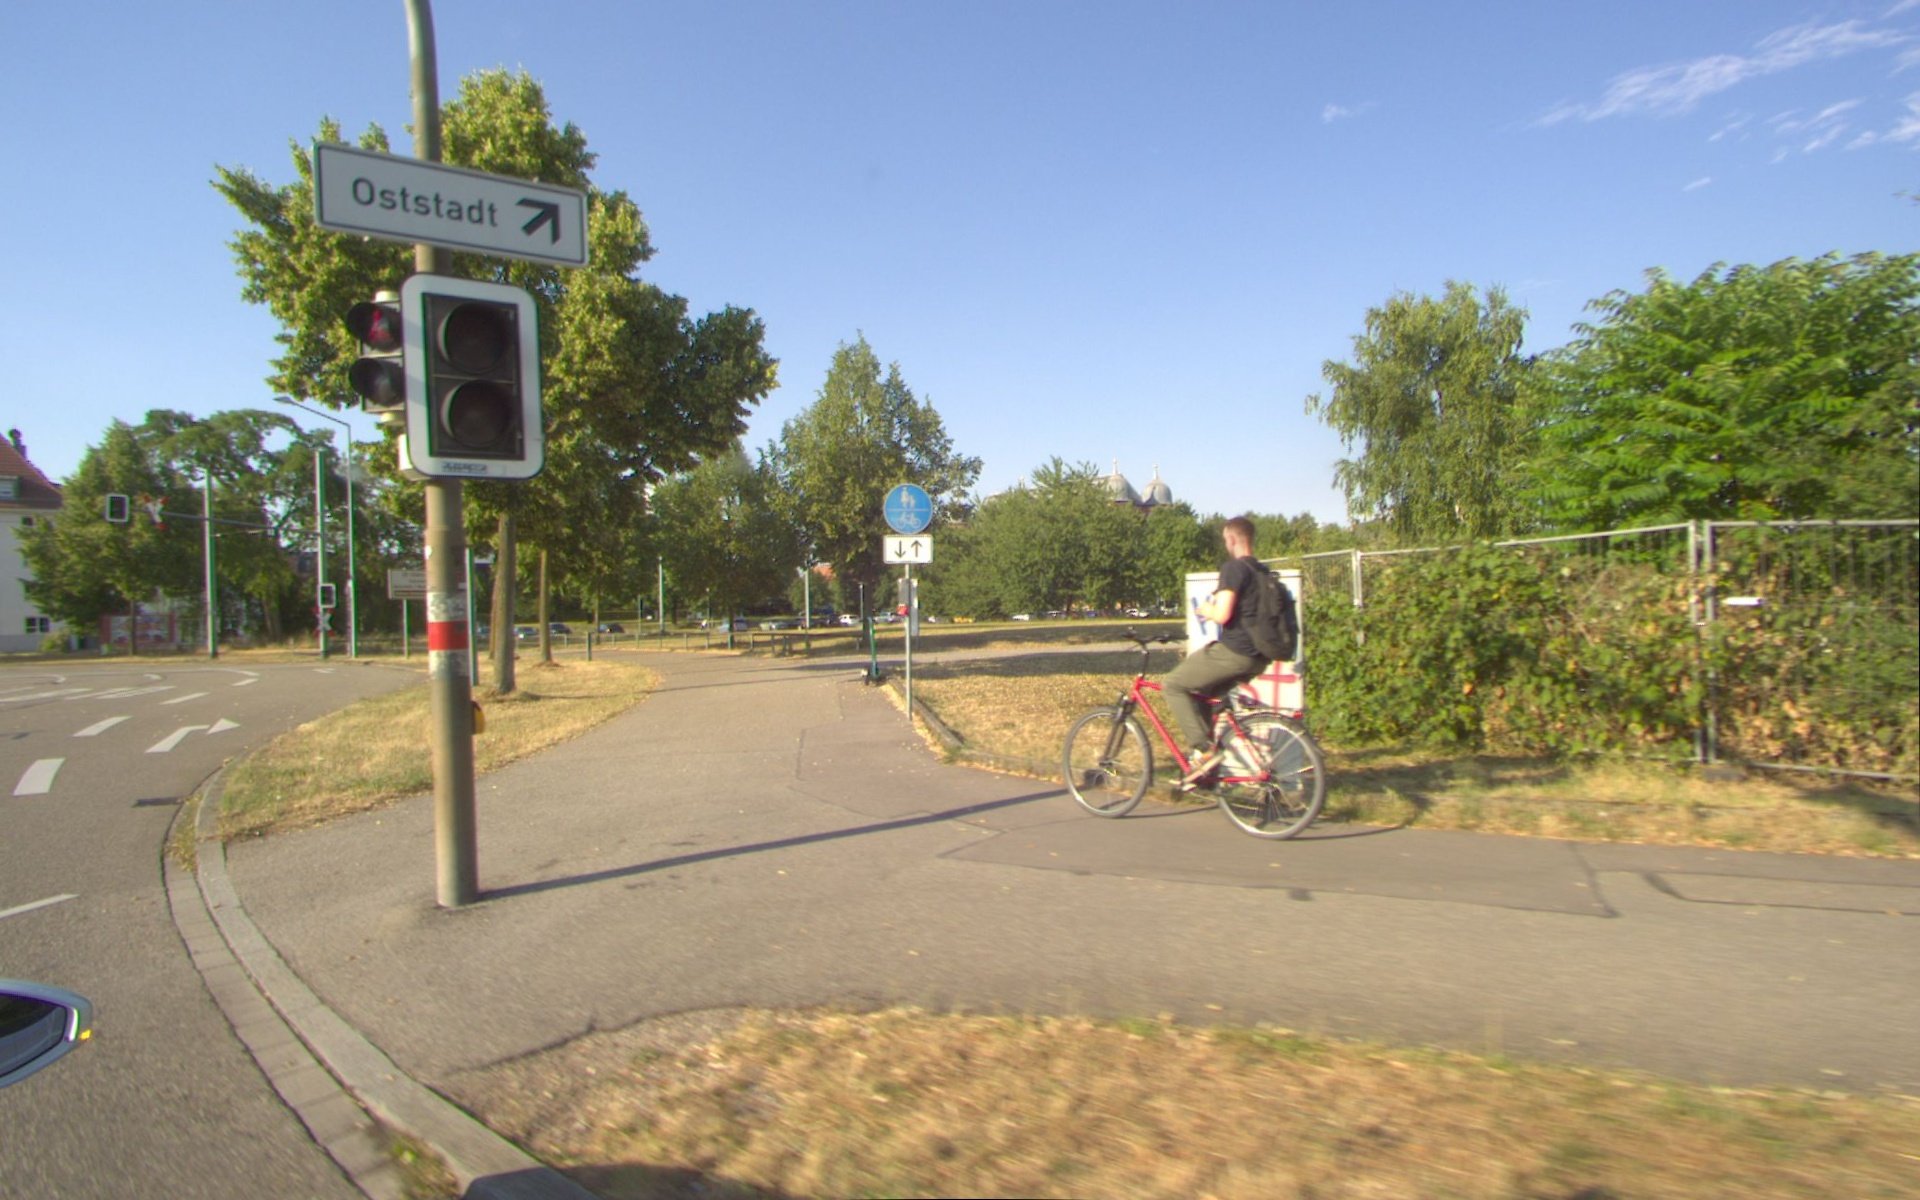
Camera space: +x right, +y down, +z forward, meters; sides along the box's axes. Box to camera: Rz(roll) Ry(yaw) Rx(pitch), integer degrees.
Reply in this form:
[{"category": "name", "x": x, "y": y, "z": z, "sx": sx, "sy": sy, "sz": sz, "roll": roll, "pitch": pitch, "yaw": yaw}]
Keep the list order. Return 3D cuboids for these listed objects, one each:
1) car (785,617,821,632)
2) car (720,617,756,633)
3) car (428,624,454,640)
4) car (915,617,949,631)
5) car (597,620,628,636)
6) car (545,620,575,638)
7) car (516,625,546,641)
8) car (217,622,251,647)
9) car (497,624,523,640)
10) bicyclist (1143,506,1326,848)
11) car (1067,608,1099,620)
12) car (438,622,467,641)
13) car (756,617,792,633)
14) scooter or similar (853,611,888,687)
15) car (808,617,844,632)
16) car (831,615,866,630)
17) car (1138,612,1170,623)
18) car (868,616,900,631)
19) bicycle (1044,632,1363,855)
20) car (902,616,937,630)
[{"category": "car", "x": -15.811, "y": 2.449, "z": 100.548, "sx": 1.806, "sy": 1.421, "sz": 3.969, "roll": -1, "pitch": -1, "yaw": -39}, {"category": "car", "x": -21.336, "y": 2.423, "z": 96.093, "sx": 1.806, "sy": 1.421, "sz": 3.969, "roll": -1, "pitch": -1, "yaw": -39}, {"category": "car", "x": -47.264, "y": 2.908, "z": 91.139, "sx": 1.585, "sy": 1.420, "sz": 3.944, "roll": -1, "pitch": -1, "yaw": -34}, {"category": "car", "x": -3.131, "y": 2.658, "z": 110.933, "sx": 1.806, "sy": 1.421, "sz": 3.969, "roll": -1, "pitch": -1, "yaw": -39}, {"category": "car", "x": -30.590, "y": 2.479, "z": 88.022, "sx": 1.585, "sy": 1.327, "sz": 3.944, "roll": -1, "pitch": -1, "yaw": -34}, {"category": "car", "x": -34.110, "y": 2.461, "z": 85.309, "sx": 1.585, "sy": 1.420, "sz": 3.944, "roll": -1, "pitch": -1, "yaw": -34}, {"category": "car", "x": -36.106, "y": 2.769, "z": 84.260, "sx": 1.585, "sy": 1.236, "sz": 3.944, "roll": -1, "pitch": -1, "yaw": -34}, {"category": "car", "x": -51.475, "y": 2.442, "z": 71.029, "sx": 1.754, "sy": 1.639, "sz": 3.944, "roll": -1, "pitch": -1, "yaw": -34}, {"category": "car", "x": -42.371, "y": 3.008, "z": 94.199, "sx": 1.585, "sy": 1.420, "sz": 3.944, "roll": -1, "pitch": -1, "yaw": -34}, {"category": "bicyclist", "x": 1.625, "y": 0.423, "z": 5.922, "sx": 0.820, "sy": 1.854, "sz": 0.616, "roll": -1, "pitch": 2, "yaw": 39}, {"category": "car", "x": 15.528, "y": 1.812, "z": 126.468, "sx": 1.806, "sy": 1.421, "sz": 3.969, "roll": -1, "pitch": -1, "yaw": -39}, {"category": "car", "x": -40.923, "y": 2.534, "z": 80.703, "sx": 1.585, "sy": 1.420, "sz": 3.944, "roll": -1, "pitch": -1, "yaw": -34}, {"category": "car", "x": -18.409, "y": 2.471, "z": 99.116, "sx": 1.806, "sy": 1.421, "sz": 3.969, "roll": -1, "pitch": -1, "yaw": -39}, {"category": "scooter or similar", "x": -1.496, "y": 0.803, "z": 16.866, "sx": 0.336, "sy": 1.175, "sz": 1.170, "roll": -4, "pitch": 1, "yaw": 3}, {"category": "car", "x": -13.667, "y": 2.463, "z": 101.916, "sx": 1.806, "sy": 1.421, "sz": 3.969, "roll": -1, "pitch": -1, "yaw": -39}, {"category": "car", "x": -11.591, "y": 2.372, "z": 103.864, "sx": 1.806, "sy": 1.421, "sz": 3.969, "roll": -1, "pitch": -1, "yaw": -39}, {"category": "car", "x": 26.183, "y": 2.393, "z": 135.079, "sx": 1.806, "sy": 1.421, "sz": 3.969, "roll": -1, "pitch": -1, "yaw": -39}, {"category": "car", "x": -9.173, "y": 2.801, "z": 120.688, "sx": 1.806, "sy": 1.694, "sz": 3.969, "roll": -1, "pitch": -1, "yaw": -39}, {"category": "bicycle", "x": 1.407, "y": 0.785, "z": 6.058, "sx": 1.868, "sy": 1.173, "sz": 0.413, "roll": -1, "pitch": 0, "yaw": 39}, {"category": "car", "x": -4.452, "y": 2.489, "z": 109.175, "sx": 1.806, "sy": 1.421, "sz": 3.969, "roll": -1, "pitch": -1, "yaw": -39}]
